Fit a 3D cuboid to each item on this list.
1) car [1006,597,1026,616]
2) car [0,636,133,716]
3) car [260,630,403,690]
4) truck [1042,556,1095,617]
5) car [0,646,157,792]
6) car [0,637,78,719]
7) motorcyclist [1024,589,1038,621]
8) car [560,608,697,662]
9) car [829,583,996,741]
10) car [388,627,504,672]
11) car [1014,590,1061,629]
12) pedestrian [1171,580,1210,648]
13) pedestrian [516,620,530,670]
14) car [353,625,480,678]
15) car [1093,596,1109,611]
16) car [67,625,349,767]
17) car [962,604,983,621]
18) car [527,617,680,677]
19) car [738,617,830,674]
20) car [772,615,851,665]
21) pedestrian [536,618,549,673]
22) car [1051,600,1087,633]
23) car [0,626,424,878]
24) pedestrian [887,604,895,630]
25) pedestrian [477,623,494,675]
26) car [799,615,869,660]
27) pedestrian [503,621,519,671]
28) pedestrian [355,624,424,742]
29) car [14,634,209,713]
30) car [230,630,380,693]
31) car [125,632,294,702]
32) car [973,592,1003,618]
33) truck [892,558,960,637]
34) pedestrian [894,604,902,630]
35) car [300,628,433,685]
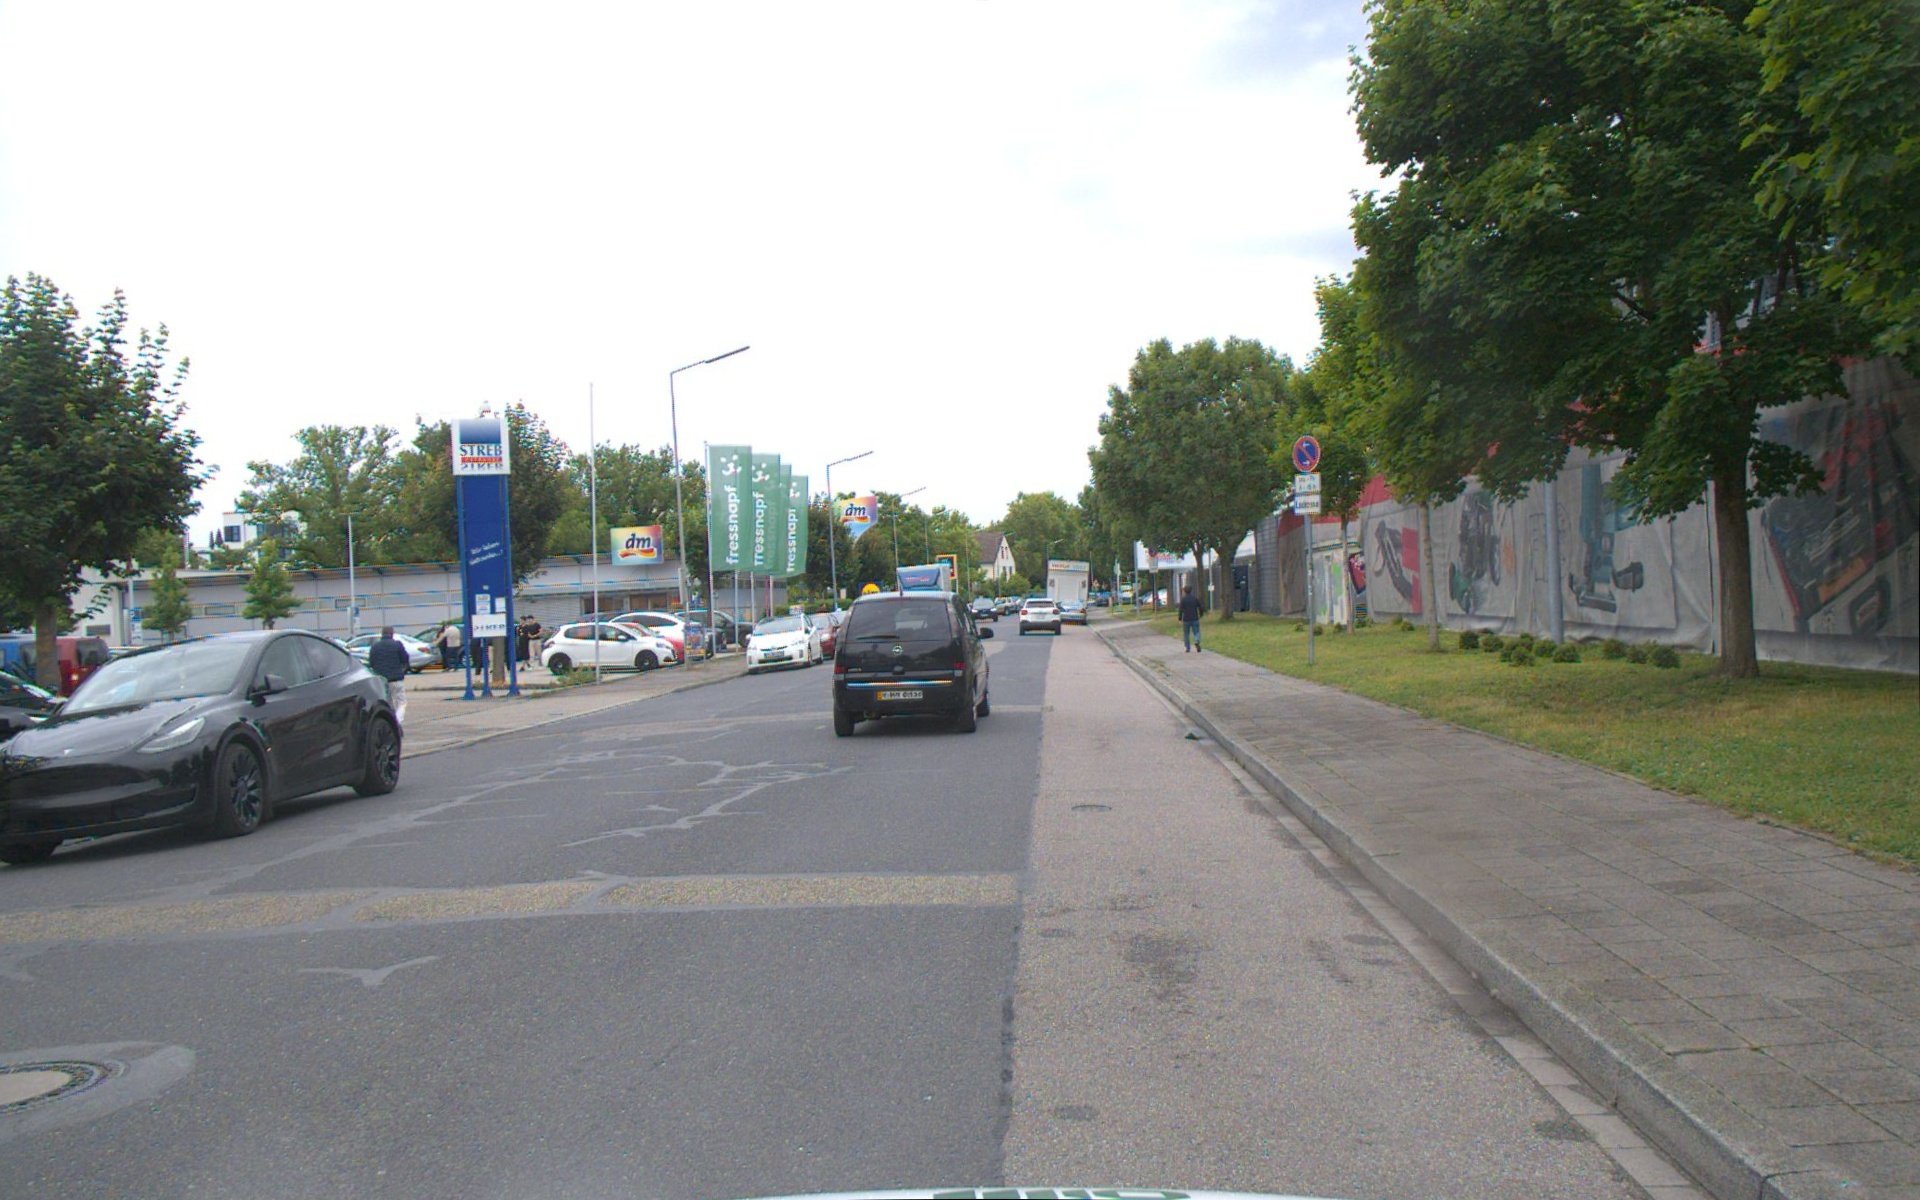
[{"bbox_3d":[5.333,0.639,157.694,1.831,1.691,4.001,-3,0,2],"label":"car"},{"bbox_3d":[-22.119,1.831,39.318,3.904,1.698,1.877,-3,0,3],"label":"car"},{"bbox_3d":[-20.713,1.959,54.605,3.904,1.698,1.877,-3,0,3],"label":"car"},{"bbox_3d":[6.865,-0.788,105.926,3.070,3.647,10.053,-1,-1,2],"label":"truck"},{"bbox_3d":[-12.379,1.472,20.593,3.792,1.649,1.928,-2,0,4],"label":"car"},{"bbox_3d":[-22.171,1.801,36.902,3.904,1.698,1.877,-3,0,3],"label":"car"},{"bbox_3d":[3.570,0.246,82.922,0.612,1.581,0.604,-3,0,5],"label":"motorcyclist"},{"bbox_3d":[-10.773,1.132,53.999,4.052,1.488,1.898,-3,0,-2],"label":"car"},{"bbox_3d":[-0.484,0.682,20.185,1.646,1.660,3.760,-3,0,3],"label":"car"},{"bbox_3d":[-20.119,1.919,64.851,3.903,1.518,1.787,-3,0,4],"label":"car"},{"bbox_3d":[3.339,0.391,70.452,1.847,1.558,4.256,-1,0,4],"label":"car"},{"bbox_3d":[5.775,0.342,41.435,0.899,1.663,0.853,-2,-1,5],"label":"pedestrian"},{"bbox_3d":[-14.293,1.463,54.091,0.323,1.597,0.503,-2,0,-8],"label":"pedestrian"},{"bbox_3d":[-19.977,1.884,60.889,3.904,1.698,1.877,-3,0,3],"label":"car"},{"bbox_3d":[17.028,0.445,200.330,1.847,1.713,4.256,-1,0,4],"label":"car"},{"bbox_3d":[-12.623,1.578,27.939,3.852,2.048,1.760,-3,0,-4],"label":"car"},{"bbox_3d":[1.082,1.045,140.711,1.589,1.399,3.453,-2,-1,3],"label":"car"},{"bbox_3d":[-10.508,1.384,49.054,4.121,1.488,1.951,-3,0,-4],"label":"car"},{"bbox_3d":[-4.909,1.245,46.623,1.858,1.391,4.002,-3,0,4],"label":"car"},{"bbox_3d":[-4.717,1.248,53.066,1.858,1.391,4.002,-3,0,4],"label":"car"},{"bbox_3d":[-13.607,1.476,53.913,0.258,1.760,0.421,-3,0,-9],"label":"pedestrian"},{"bbox_3d":[6.378,0.990,96.789,1.952,1.837,4.001,-2,-1,2],"label":"car"},{"bbox_3d":[-6.329,1.140,13.930,1.907,1.552,4.404,-7,0,2],"label":"car"},{"bbox_3d":[-4.250,1.053,101.993,0.393,1.558,0.485,-3,0,-3],"label":"pedestrian"},{"bbox_3d":[-15.326,1.583,53.436,0.447,1.670,0.373,-3,0,-14],"label":"pedestrian"},{"bbox_3d":[-4.425,1.299,58.525,1.858,1.391,4.002,-3,0,4],"label":"car"},{"bbox_3d":[-14.675,1.506,54.030,0.352,1.597,0.503,-3,0,-7],"label":"pedestrian"},{"bbox_3d":[-8.790,1.265,25.488,0.759,1.745,0.697,-2,0,-1],"label":"pedestrian"},{"bbox_3d":[-21.495,1.843,41.998,3.904,1.698,1.877,-3,0,3],"label":"car"},{"bbox_3d":[-20.610,1.919,52.132,3.904,1.698,1.877,-3,0,3],"label":"car"},{"bbox_3d":[-21.390,1.897,47.224,3.904,1.698,1.877,-3,0,3],"label":"car"},{"bbox_3d":[1.989,0.375,116.931,1.952,1.713,4.001,-2,-1,2],"label":"car"},{"bbox_3d":[-1.834,-0.144,91.979,2.912,4.024,6.408,-4,0,4],"label":"truck"},{"bbox_3d":[-3.758,1.052,100.196,0.393,1.558,0.485,-3,0,-3],"label":"pedestrian"},{"bbox_3d":[-20.915,1.982,58.329,3.904,1.698,1.877,-3,0,3],"label":"car"}]
